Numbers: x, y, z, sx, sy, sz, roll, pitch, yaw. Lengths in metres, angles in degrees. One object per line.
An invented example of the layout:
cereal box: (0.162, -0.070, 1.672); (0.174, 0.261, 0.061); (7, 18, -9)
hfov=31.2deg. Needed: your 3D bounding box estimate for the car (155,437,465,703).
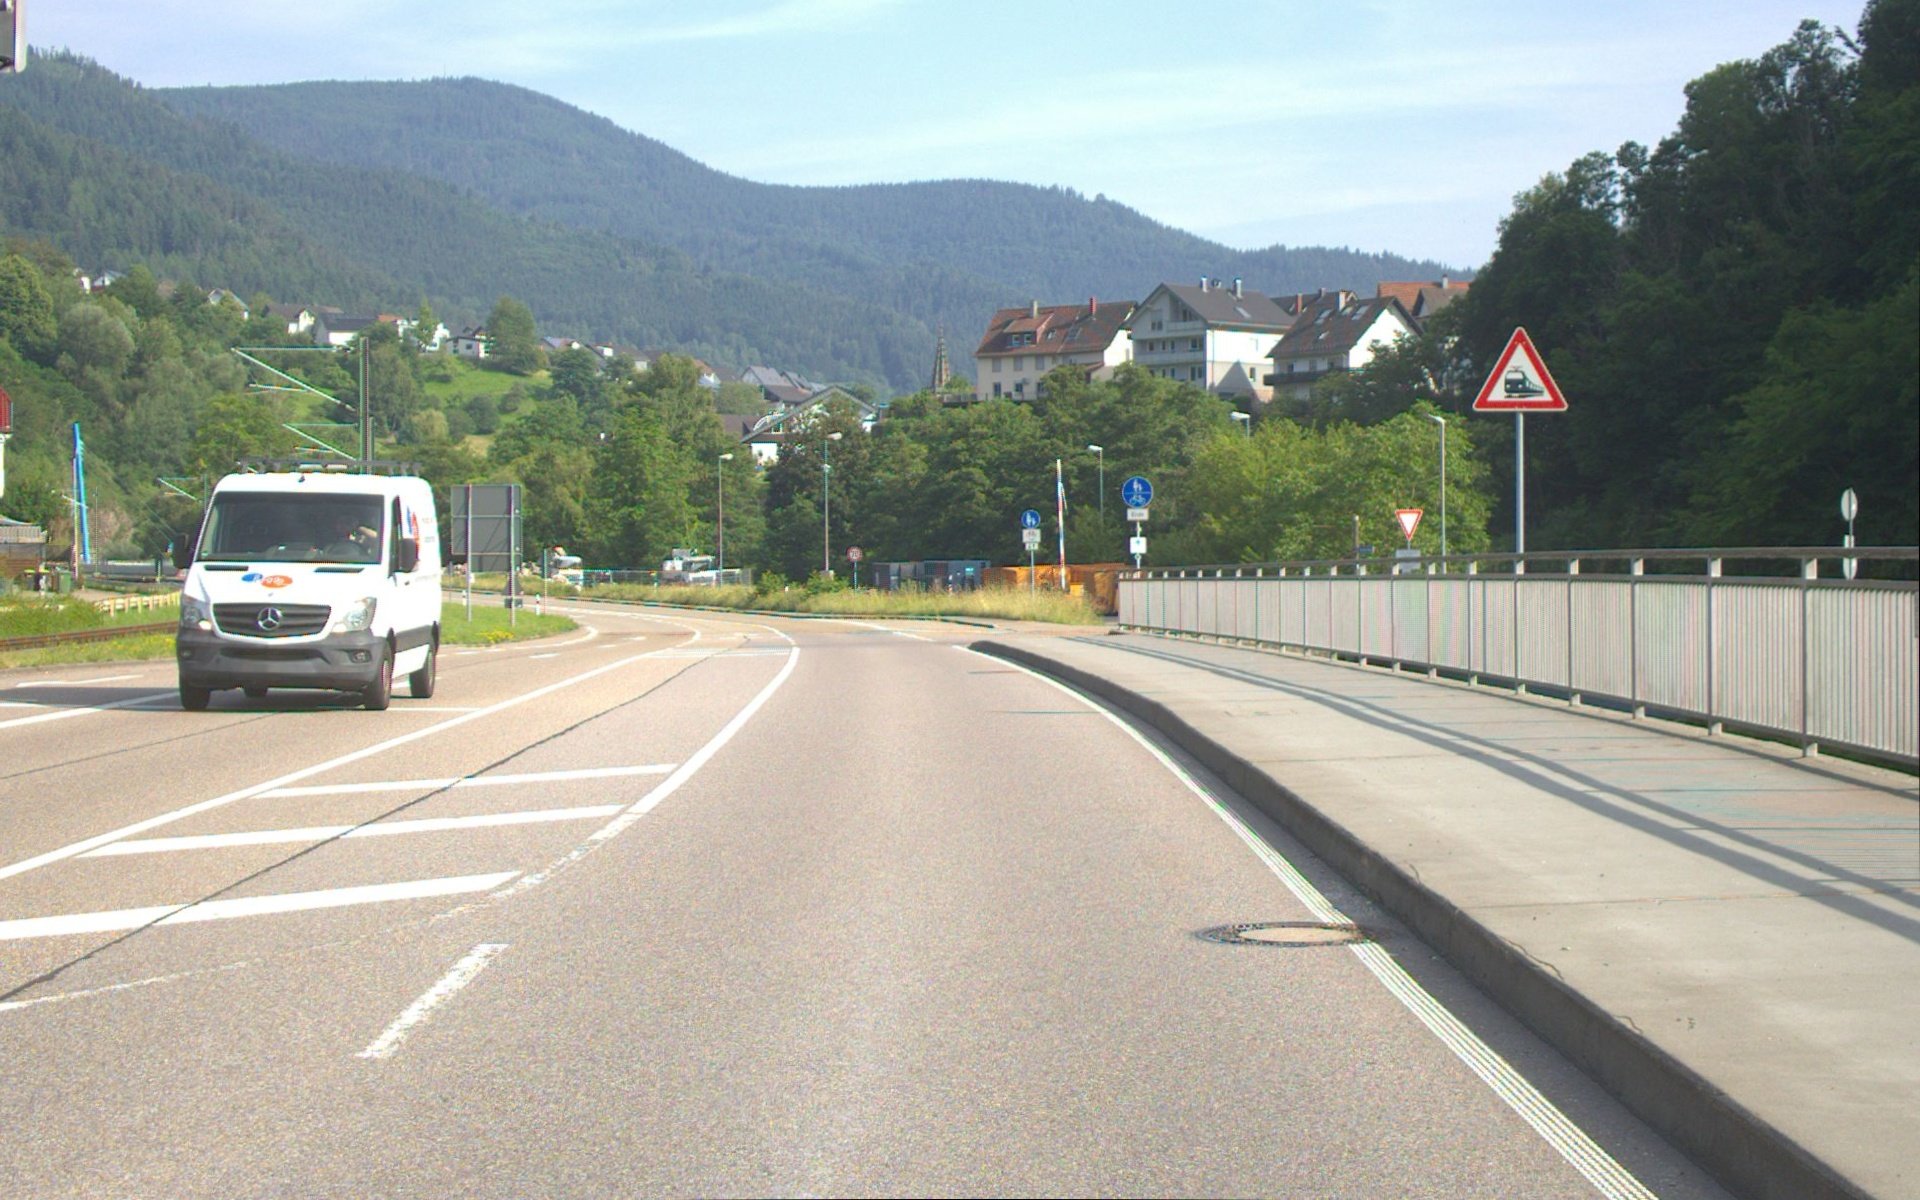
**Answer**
car: (-6.378, -0.319, 34.353); (2.119, 2.428, 5.228); (1, 1, -1)
